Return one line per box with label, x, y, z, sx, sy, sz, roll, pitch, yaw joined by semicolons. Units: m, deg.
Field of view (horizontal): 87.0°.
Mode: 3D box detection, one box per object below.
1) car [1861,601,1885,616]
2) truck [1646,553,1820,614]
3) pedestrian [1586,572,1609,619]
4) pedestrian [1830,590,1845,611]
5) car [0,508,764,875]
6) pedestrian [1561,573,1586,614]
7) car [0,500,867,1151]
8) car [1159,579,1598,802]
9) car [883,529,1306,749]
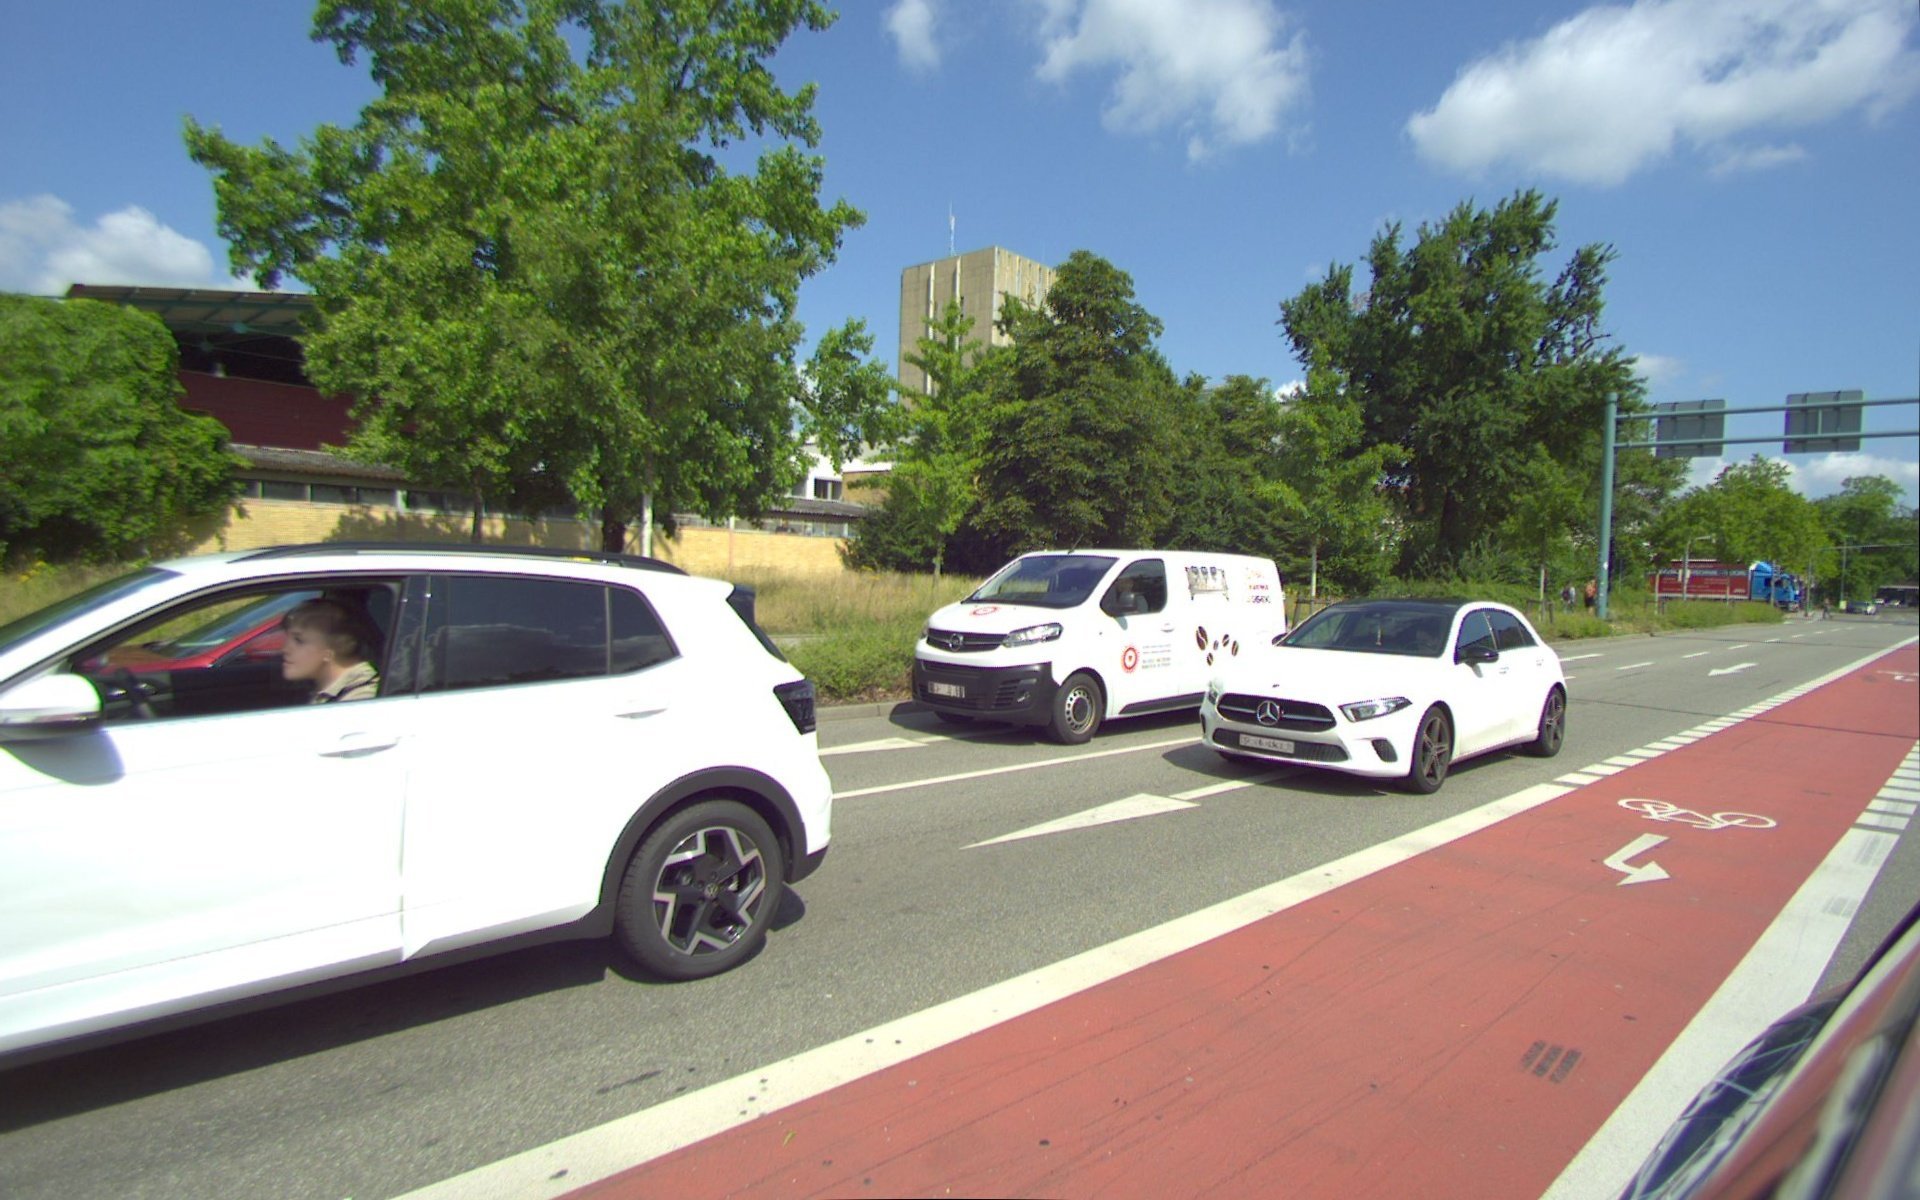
car;97.984;0.897;108.627;1.703;1.345;3.941;6;4;40
truck;53.522;-1.233;70.348;2.620;3.846;9.177;0;2;-42
pedestrian;24.850;-0.179;39.450;0.628;1.824;0.568;1;2;-43
pedestrian;69.991;0.018;80.701;0.628;1.670;0.742;1;2;-39
car;-3.595;0.388;6.429;4.387;1.661;1.683;0;2;-43
pedestrian;24.321;-0.273;40.098;0.696;1.600;0.624;1;2;-43
car;-2.436;0.525;3.507;3.943;1.559;1.793;0;1;-43
car;3.857;0.603;8.948;4.310;1.441;1.907;0;2;-42
car;1.646;0.304;11.039;4.743;1.893;1.945;0;2;-43
